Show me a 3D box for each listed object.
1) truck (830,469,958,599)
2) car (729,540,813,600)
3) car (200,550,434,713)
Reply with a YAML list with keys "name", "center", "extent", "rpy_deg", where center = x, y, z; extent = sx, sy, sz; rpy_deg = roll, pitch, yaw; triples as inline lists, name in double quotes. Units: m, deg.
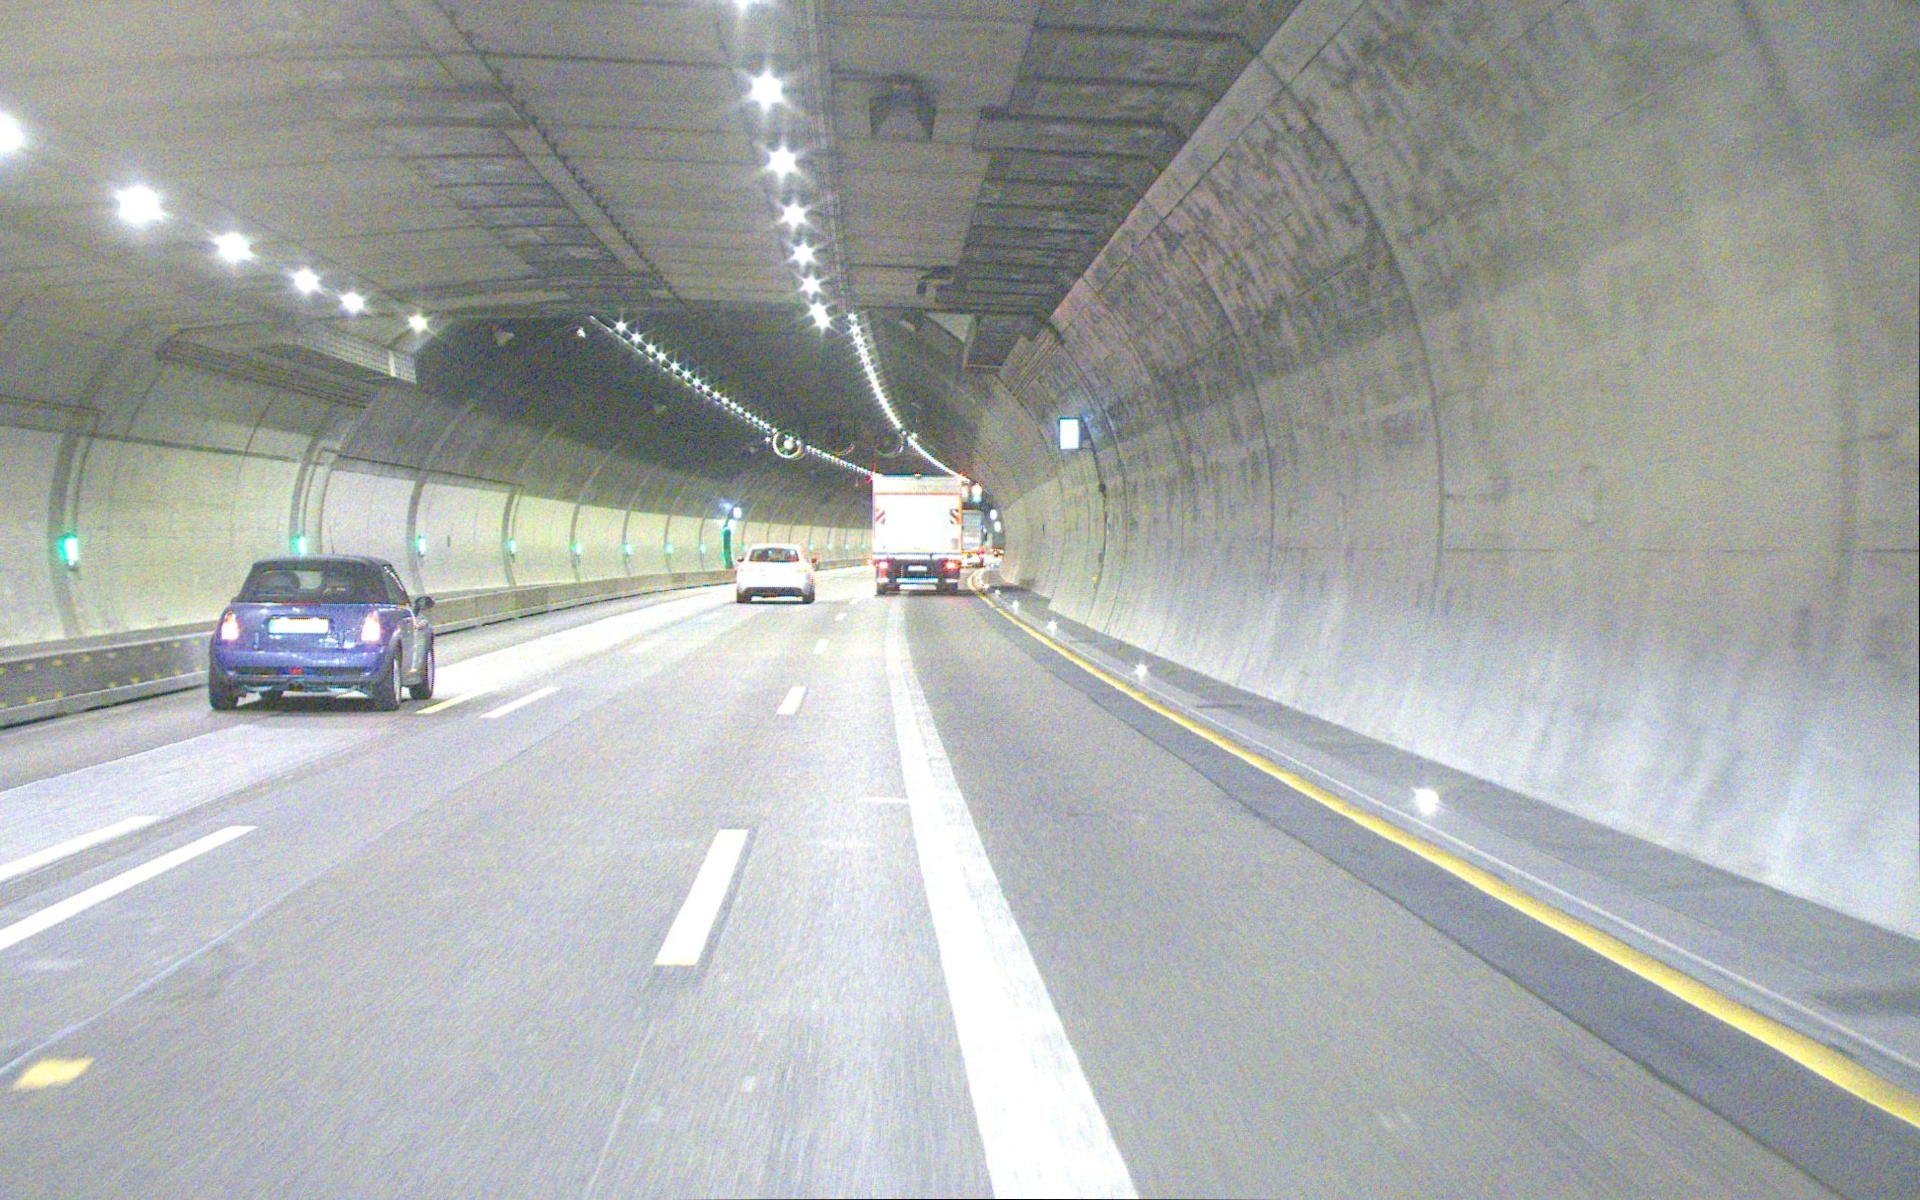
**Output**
- name: "truck"
  center: [-1.885, -1.965, 102.148]
  extent: [3.592, 3.638, 10.723]
  rpy_deg: [0, 1, 0]
- name: "car"
  center: [-4.689, -0.758, 84.886]
  extent: [1.993, 1.408, 4.743]
  rpy_deg: [0, 1, -4]
- name: "car"
  center: [-5.985, 0.252, 32.355]
  extent: [1.689, 1.412, 3.923]
  rpy_deg: [0, 1, -3]
